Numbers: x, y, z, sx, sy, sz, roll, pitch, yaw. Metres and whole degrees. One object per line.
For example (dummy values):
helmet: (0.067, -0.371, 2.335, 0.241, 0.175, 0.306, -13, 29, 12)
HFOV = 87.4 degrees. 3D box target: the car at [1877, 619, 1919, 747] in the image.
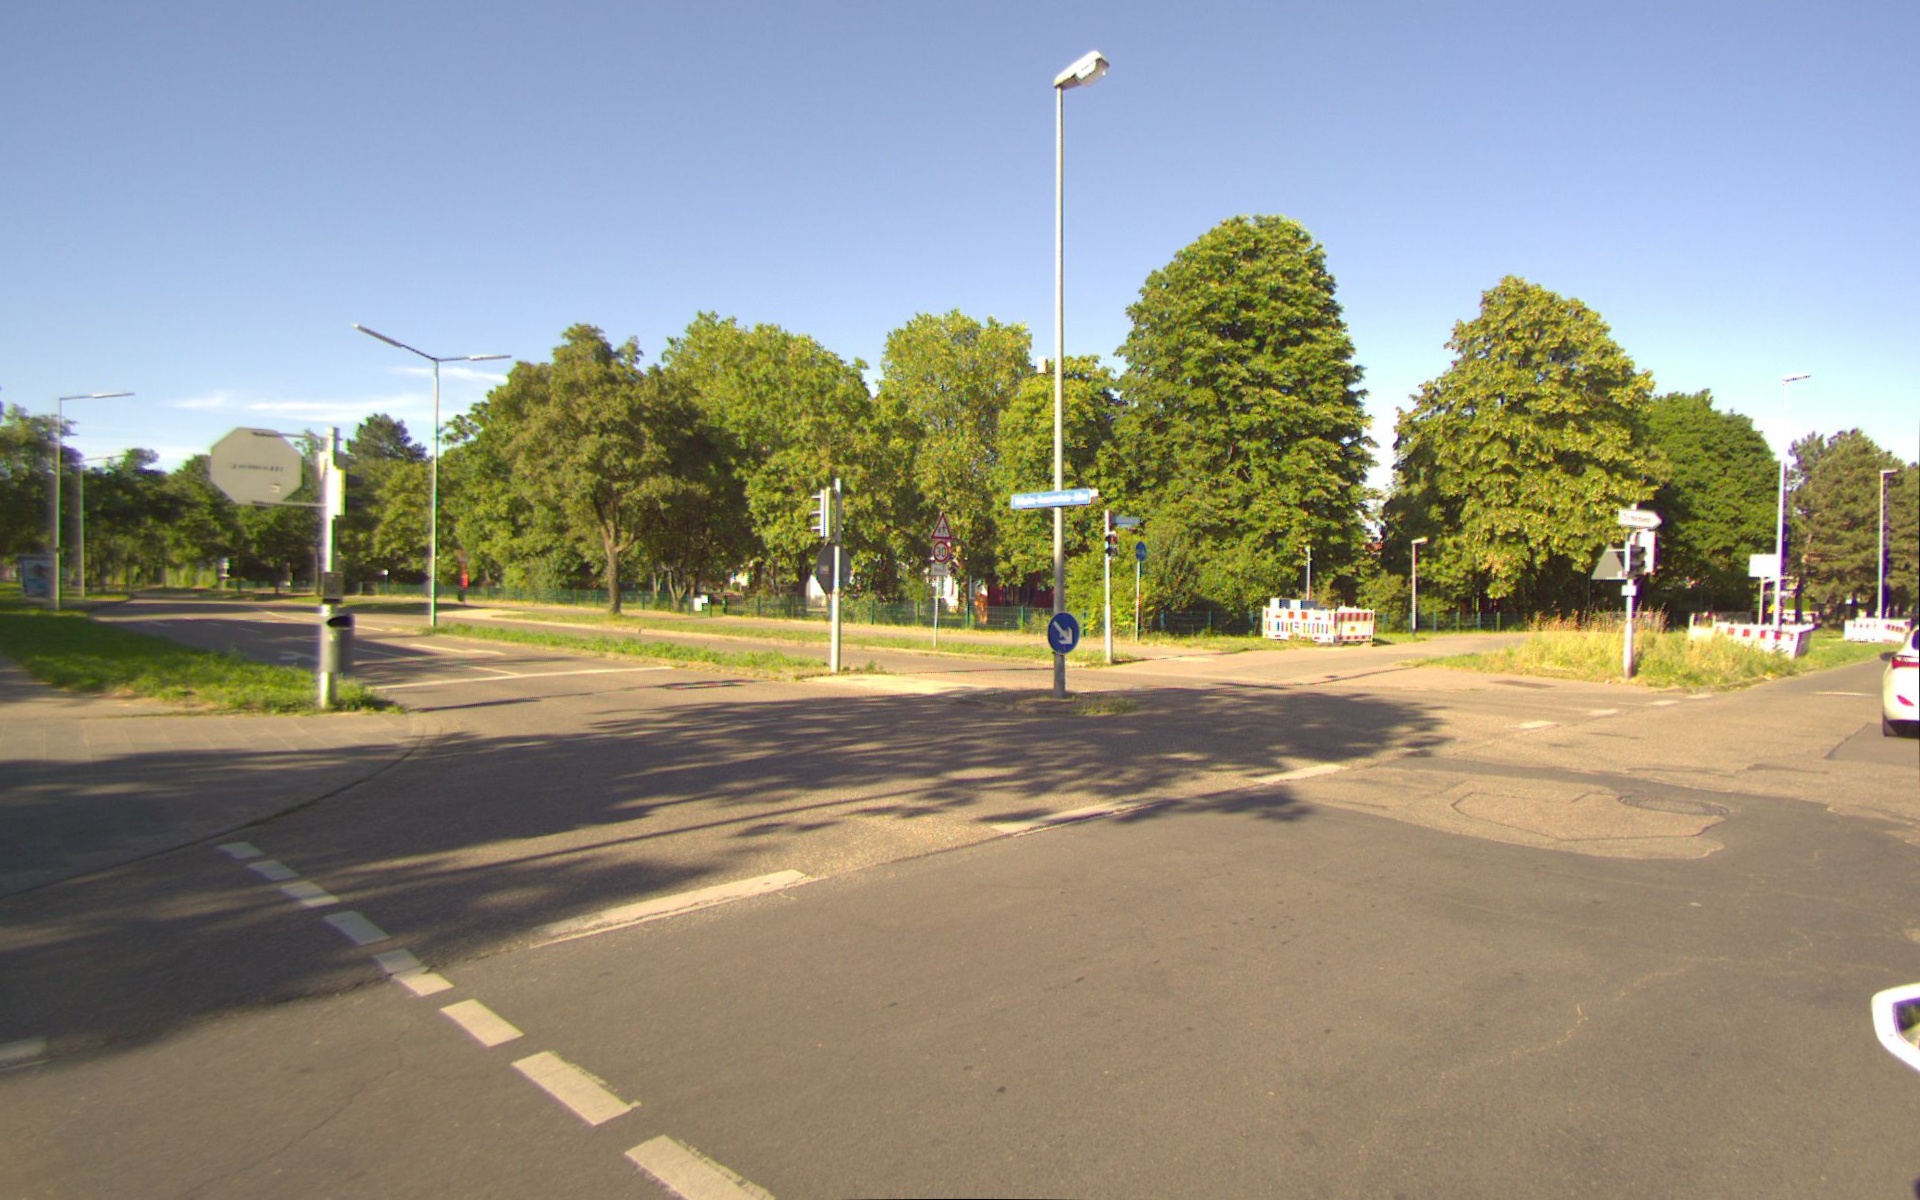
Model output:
car: (13.119, 1.022, 12.852, 3.936, 1.483, 1.772, 1, 1, -44)

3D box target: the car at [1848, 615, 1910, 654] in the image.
car: (47.390, 1.764, 51.792, 3.970, 1.840, 1.976, -1, -1, -42)
